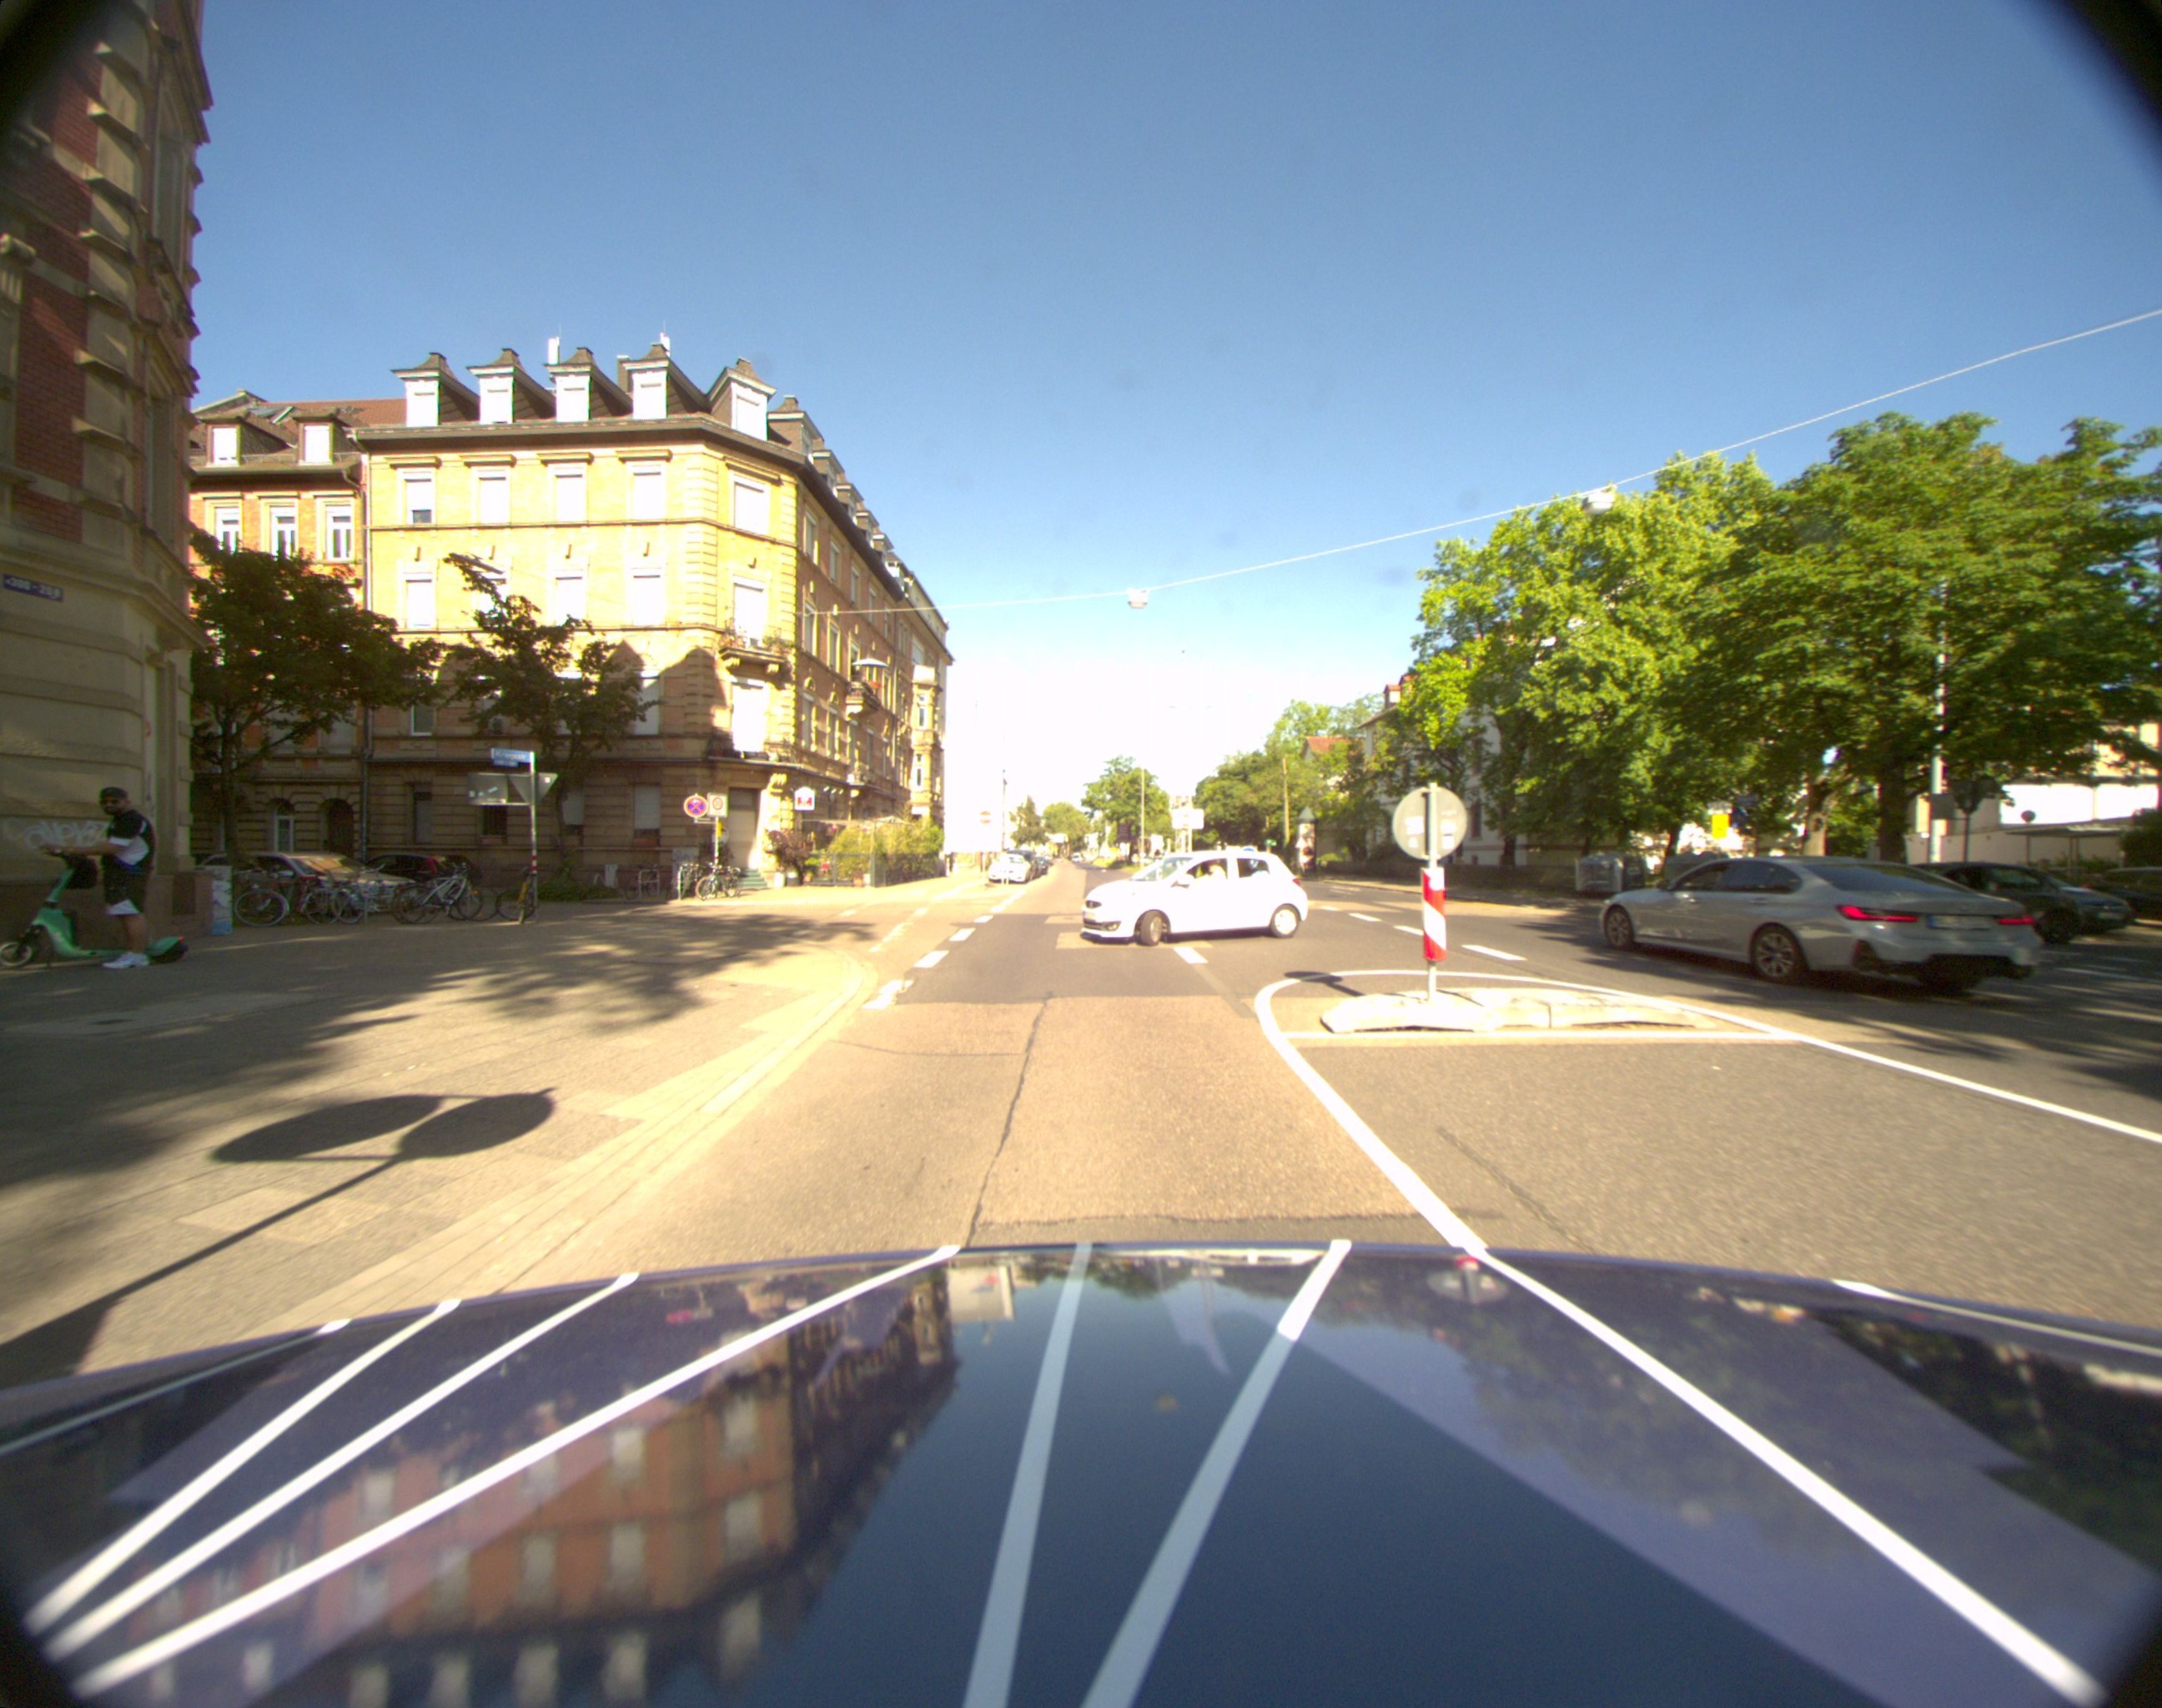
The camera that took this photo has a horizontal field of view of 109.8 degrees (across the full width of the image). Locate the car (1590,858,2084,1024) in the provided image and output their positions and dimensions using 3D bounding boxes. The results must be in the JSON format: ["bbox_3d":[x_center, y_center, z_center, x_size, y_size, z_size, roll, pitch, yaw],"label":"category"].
[{"bbox_3d":[8.645,0.817,9.487,1.808,1.485,4.715,1,0,6],"label":"car"}]

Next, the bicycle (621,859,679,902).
[{"bbox_3d":[-12.830,0.757,22.680,0.584,1.128,2.018,2,2,-1],"label":"bicycle"}]

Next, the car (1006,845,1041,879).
[{"bbox_3d":[-3.333,0.451,44.368,1.693,1.862,3.561,2,0,0],"label":"car"}]

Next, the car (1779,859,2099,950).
[{"bbox_3d":[16.496,0.914,14.844,3.774,1.482,1.846,2,1,10],"label":"car"}]

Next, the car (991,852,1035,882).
[{"bbox_3d":[-3.380,0.615,38.544,1.846,1.432,4.105,0,0,0],"label":"car"}]

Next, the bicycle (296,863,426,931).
[{"bbox_3d":[-13.468,0.794,14.305,0.634,1.178,2.019,1,-2,-5],"label":"bicycle"}]

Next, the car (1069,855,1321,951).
[{"bbox_3d":[1.879,0.740,12.870,3.899,1.449,1.652,0,1,-15],"label":"car"}]

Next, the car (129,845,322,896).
[{"bbox_3d":[-26.594,0.485,23.705,3.933,1.409,2.048,2,1,5],"label":"car"}]

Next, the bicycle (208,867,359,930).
[{"bbox_3d":[-14.983,0.803,14.364,0.584,1.049,2.020,1,1,6],"label":"bicycle"}]

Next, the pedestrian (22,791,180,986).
[{"bbox_3d":[-10.029,0.346,7.817,0.768,1.881,0.692,1,-2,-33],"label":"pedestrian"}]

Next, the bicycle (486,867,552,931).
[{"bbox_3d":[-10.665,0.818,14.401,2.013,1.127,0.586,0,-2,42],"label":"bicycle"}]

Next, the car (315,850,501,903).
[{"bbox_3d":[-20.345,0.647,23.081,3.933,1.409,2.048,2,1,5],"label":"car"}]

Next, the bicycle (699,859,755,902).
[{"bbox_3d":[-10.493,0.771,22.632,0.735,1.128,2.018,1,2,-1],"label":"bicycle"}]

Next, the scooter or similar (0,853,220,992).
[{"bbox_3d":[-10.042,0.632,7.794,0.759,1.256,1.411,3,1,20],"label":"scooter or similar"}]

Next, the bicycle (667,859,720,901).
[{"bbox_3d":[-11.501,0.745,22.622,0.584,1.128,2.018,2,1,-1],"label":"bicycle"}]

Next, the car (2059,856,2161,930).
[{"bbox_3d":[26.331,0.975,17.419,1.892,1.679,4.700,2,2,5],"label":"car"}]

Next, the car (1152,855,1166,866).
[{"bbox_3d":[11.285,0.884,109.746,1.594,1.420,3.716,2,1,0],"label":"car"}]

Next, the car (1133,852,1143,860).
[{"bbox_3d":[10.725,0.361,142.896,1.594,1.420,3.716,2,1,0],"label":"car"}]

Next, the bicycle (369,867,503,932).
[{"bbox_3d":[-12.140,0.821,14.406,0.584,1.128,2.021,1,0,9],"label":"bicycle"}]

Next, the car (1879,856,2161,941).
[{"bbox_3d":[22.030,0.923,18.100,1.891,1.679,4.705,2,0,14],"label":"car"}]

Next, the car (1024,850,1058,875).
[{"bbox_3d":[-2.734,0.544,53.366,1.893,1.679,4.700,0,0,3],"label":"car"}]

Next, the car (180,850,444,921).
[{"bbox_3d":[-18.121,0.697,18.045,4.415,1.409,2.048,2,1,5],"label":"car"}]
